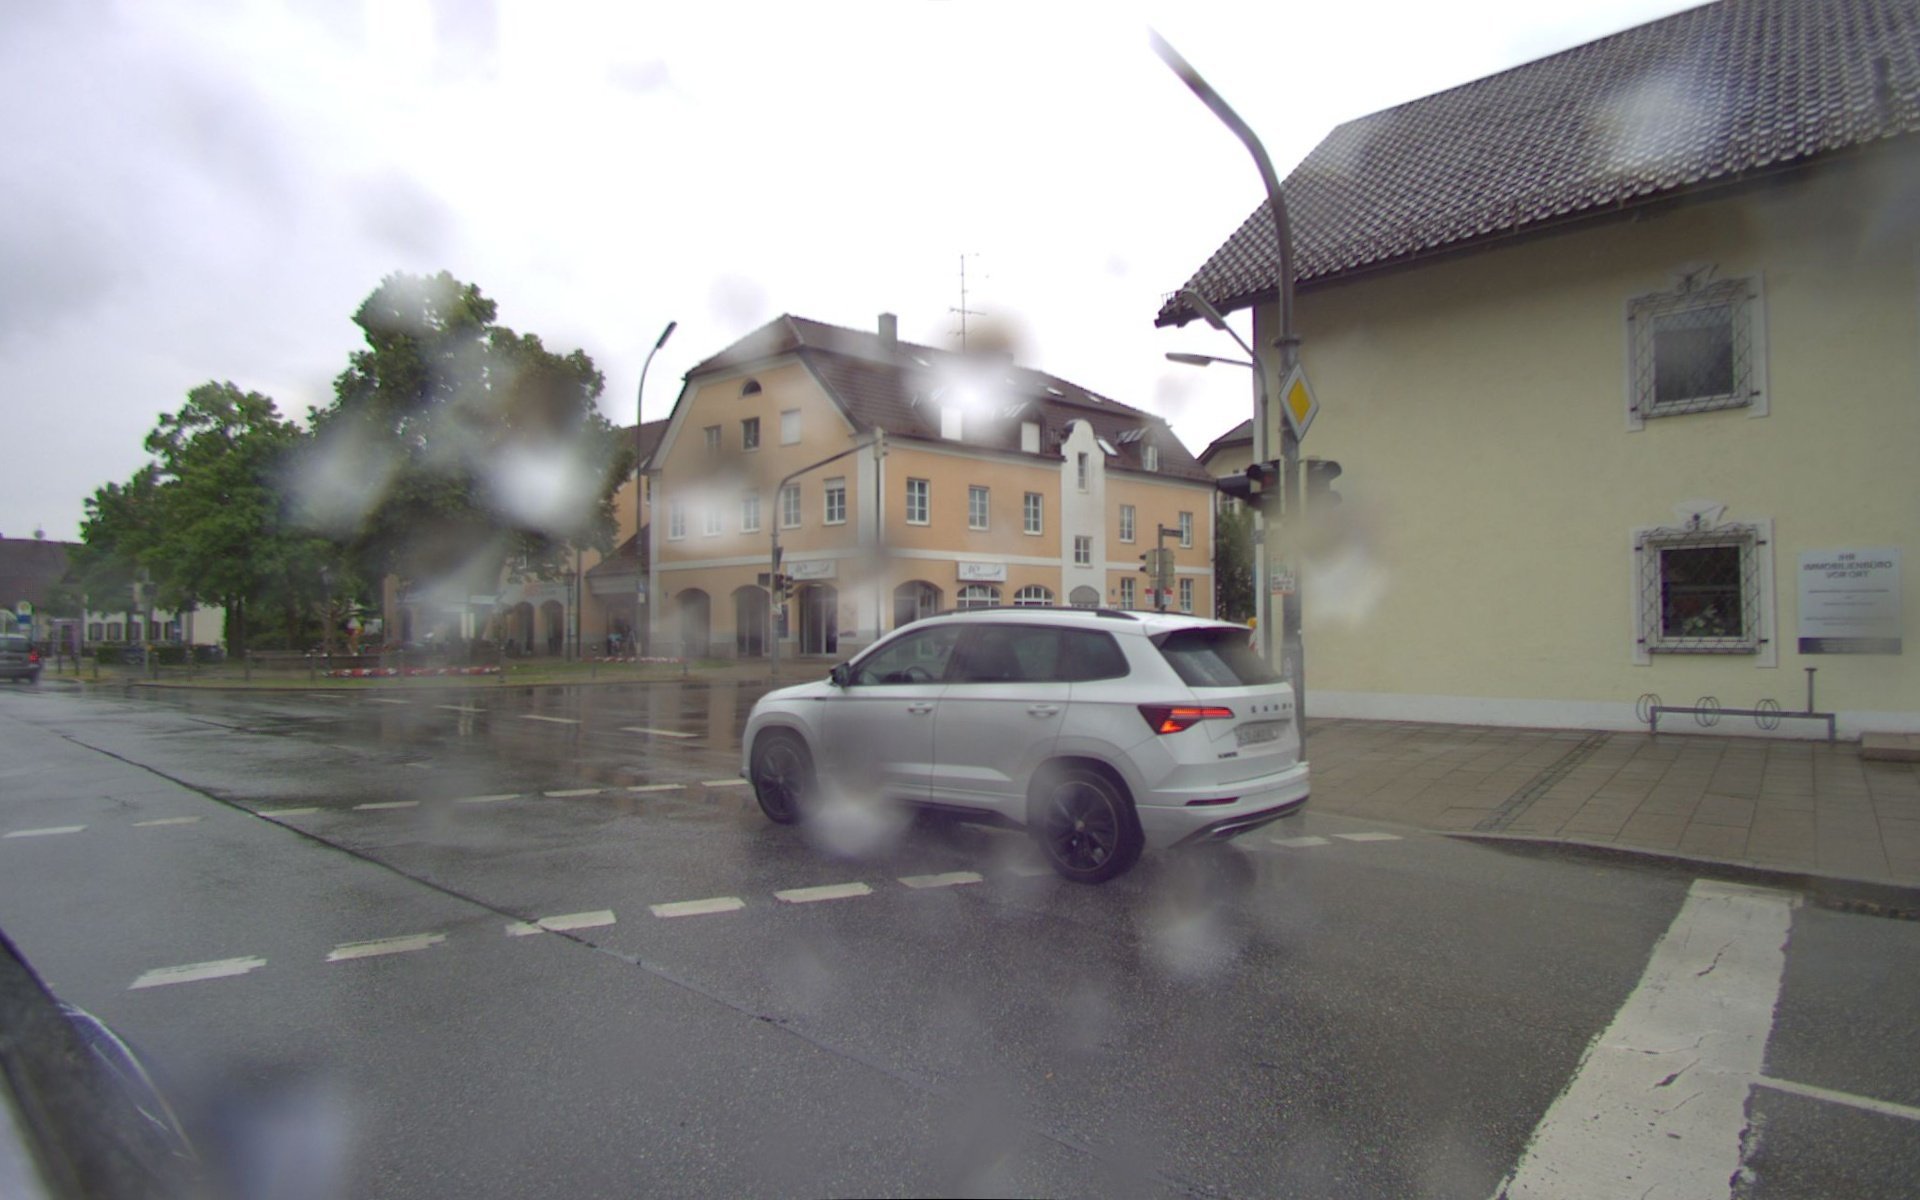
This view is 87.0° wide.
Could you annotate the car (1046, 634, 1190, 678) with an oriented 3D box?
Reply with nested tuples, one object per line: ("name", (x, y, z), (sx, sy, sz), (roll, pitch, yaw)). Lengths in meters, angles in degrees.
("car", (4.772, 1.646, 30.345), (4.288, 1.194, 1.693), (1, -2, -35))

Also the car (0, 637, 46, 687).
("car", (-31.260, 1.980, 32.690), (3.893, 1.545, 1.897), (-1, -3, 38))

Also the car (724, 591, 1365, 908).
("car", (0.420, 0.809, 7.136), (4.148, 1.575, 1.947), (-1, -3, 40))
